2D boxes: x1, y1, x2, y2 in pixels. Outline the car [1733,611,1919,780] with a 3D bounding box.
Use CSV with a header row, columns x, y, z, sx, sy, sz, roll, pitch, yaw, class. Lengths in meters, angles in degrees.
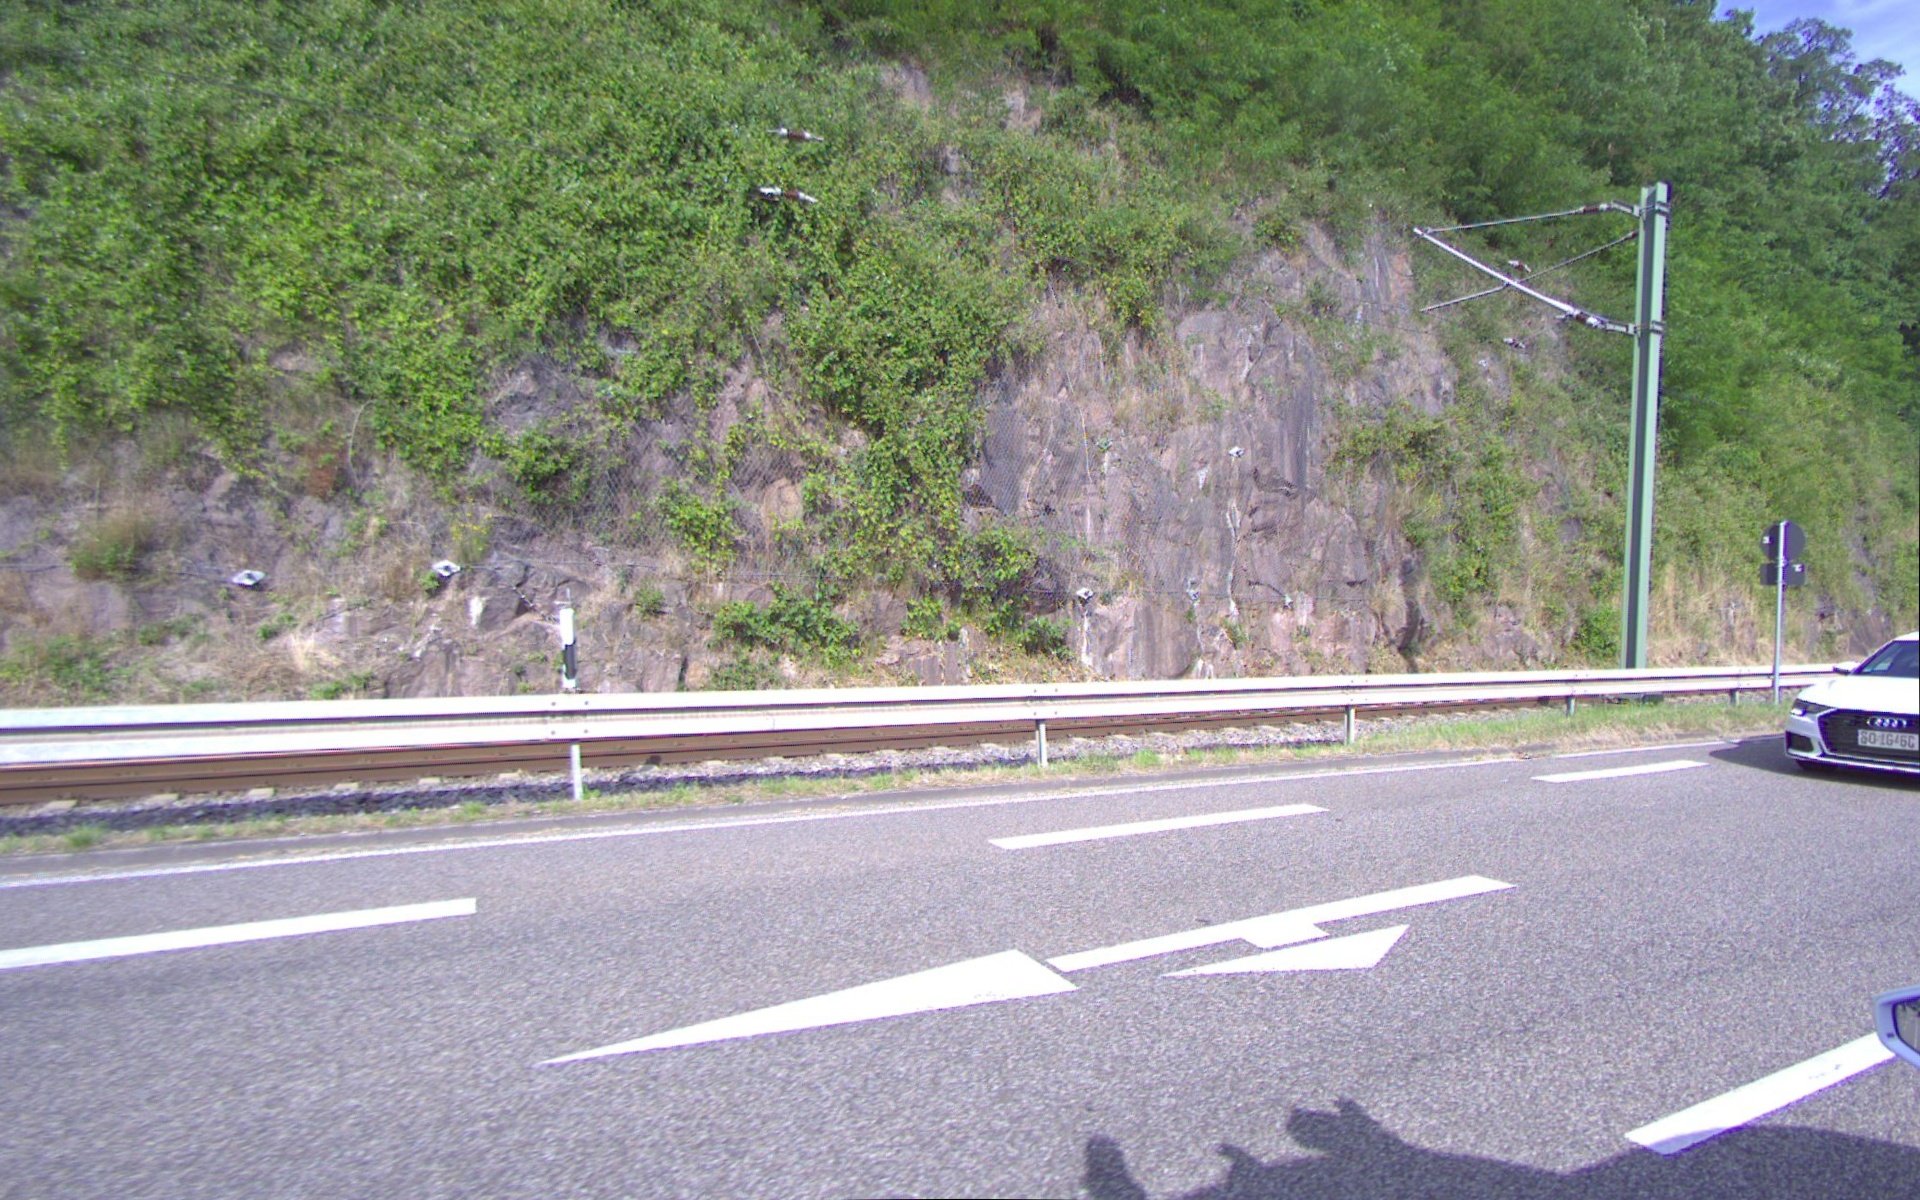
x,y,z,sx,sy,sz,roll,pitch,yaw,class
10.291,0.900,10.352,4.630,1.458,2.054,1,0,-30,car
